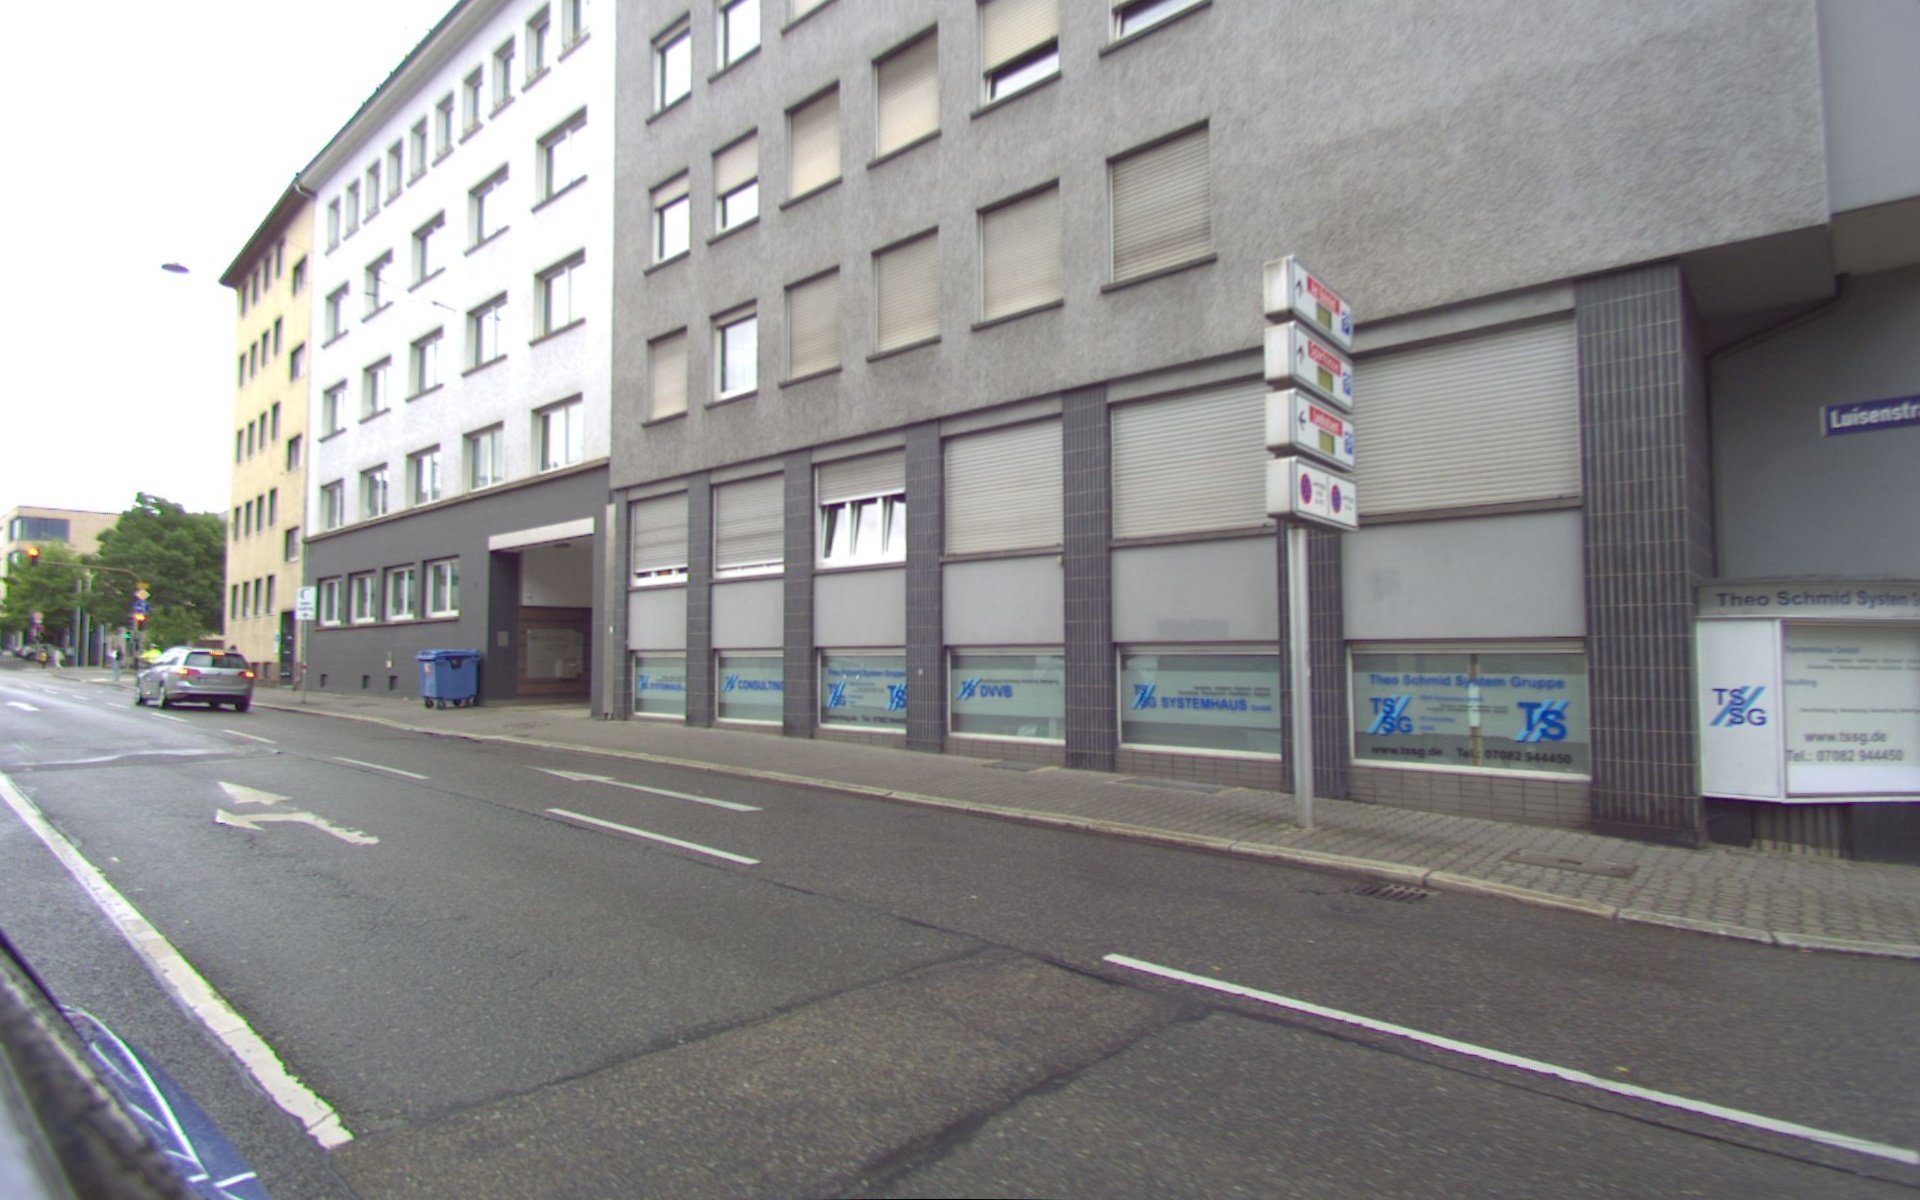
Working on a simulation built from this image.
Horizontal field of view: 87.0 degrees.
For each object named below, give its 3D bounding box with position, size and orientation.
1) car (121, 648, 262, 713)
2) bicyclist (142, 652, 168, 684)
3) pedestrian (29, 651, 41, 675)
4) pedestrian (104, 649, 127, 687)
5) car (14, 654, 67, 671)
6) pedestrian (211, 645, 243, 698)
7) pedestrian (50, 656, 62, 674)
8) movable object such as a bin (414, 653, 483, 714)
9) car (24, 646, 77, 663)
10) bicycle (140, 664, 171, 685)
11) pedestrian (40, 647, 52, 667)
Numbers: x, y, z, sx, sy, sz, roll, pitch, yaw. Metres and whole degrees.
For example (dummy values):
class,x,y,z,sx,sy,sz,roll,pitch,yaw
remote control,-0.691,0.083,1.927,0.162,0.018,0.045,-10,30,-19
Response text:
class,x,y,z,sx,sy,sz,roll,pitch,yaw
car,-18.672,1.937,24.520,4.293,1.427,1.807,-3,-8,41
bicyclist,-37.223,3.139,46.798,0.813,1.453,0.833,-3,-3,44
pedestrian,-70.190,4.758,76.783,0.692,1.785,0.588,-3,-3,41
pedestrian,-39.087,3.143,46.821,0.811,1.702,0.709,-3,-3,44
car,-94.348,6.375,103.826,3.940,1.597,2.001,1,-3,-44
pedestrian,-24.068,2.320,33.207,0.811,1.702,0.709,-3,-3,44
pedestrian,-69.459,5.005,77.775,0.475,1.386,0.614,-3,-3,43
movable object such as a bin,-11.716,1.889,23.173,1.190,1.334,1.064,-3,-3,42
car,-92.149,5.537,102.546,3.940,1.597,2.001,1,-3,-44
bicycle,-37.249,3.422,46.843,1.867,0.914,0.875,-3,-3,44
pedestrian,-70.766,4.432,78.337,0.692,1.528,0.588,-3,-3,41
